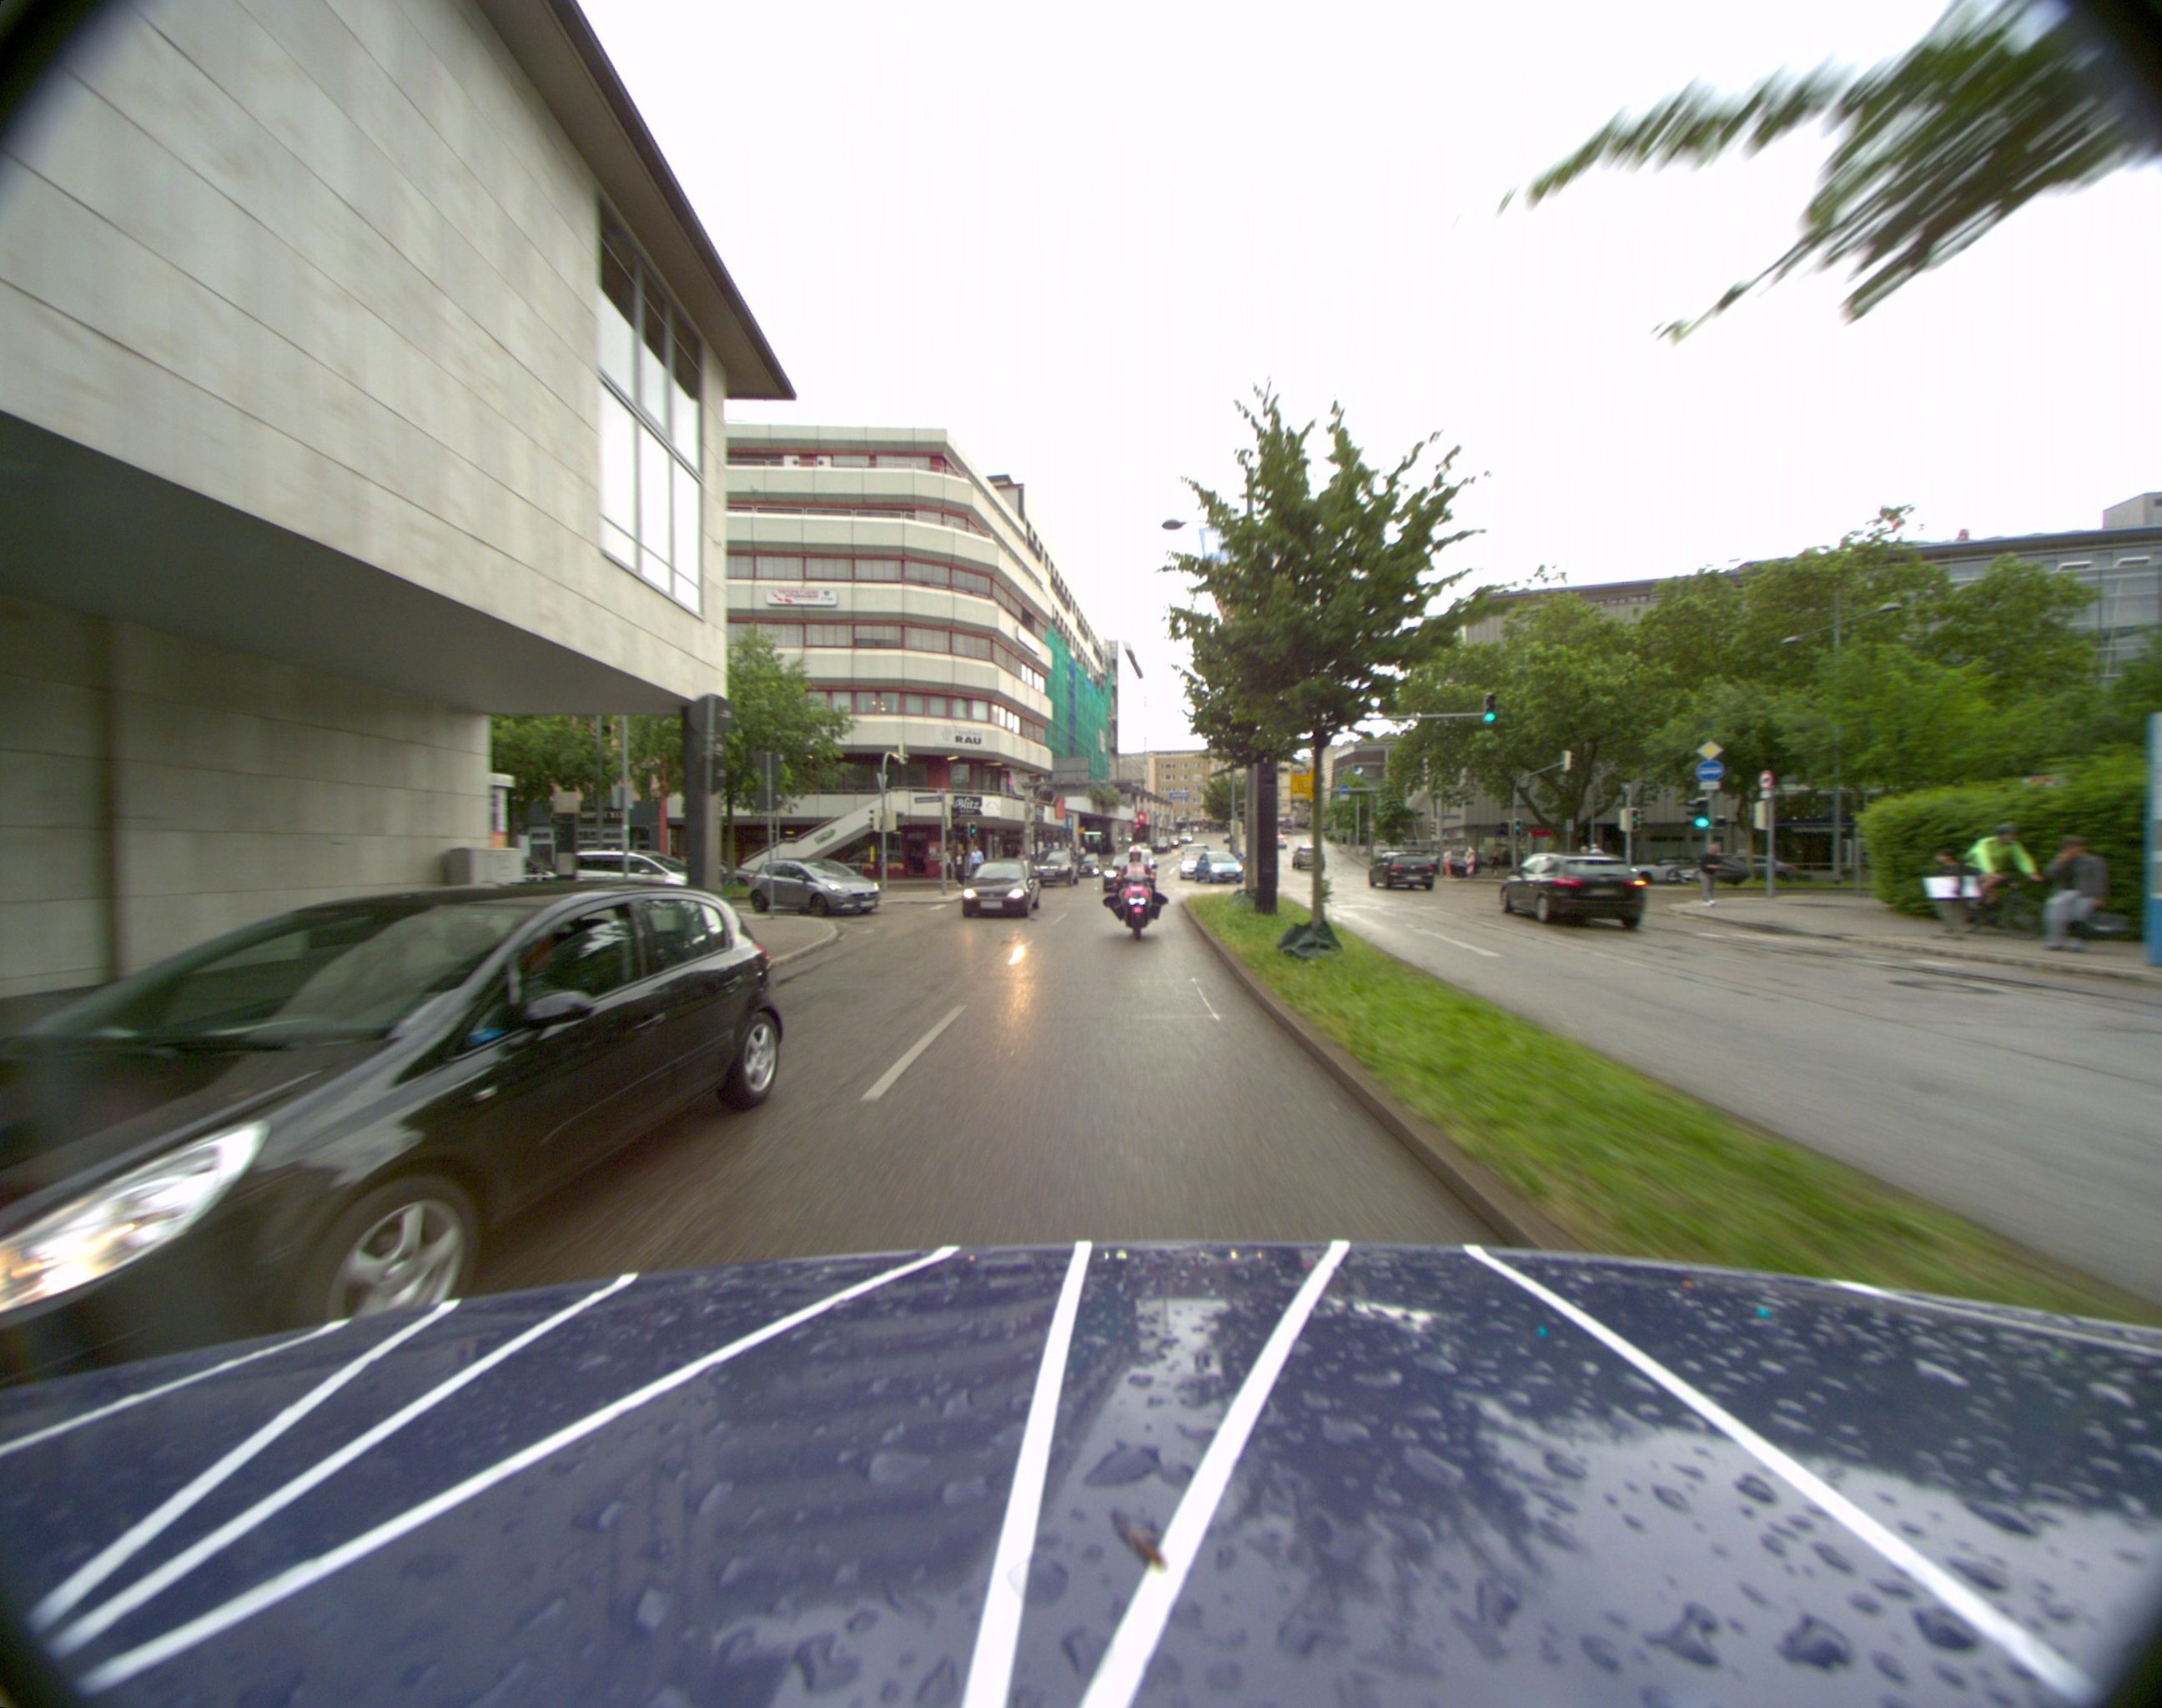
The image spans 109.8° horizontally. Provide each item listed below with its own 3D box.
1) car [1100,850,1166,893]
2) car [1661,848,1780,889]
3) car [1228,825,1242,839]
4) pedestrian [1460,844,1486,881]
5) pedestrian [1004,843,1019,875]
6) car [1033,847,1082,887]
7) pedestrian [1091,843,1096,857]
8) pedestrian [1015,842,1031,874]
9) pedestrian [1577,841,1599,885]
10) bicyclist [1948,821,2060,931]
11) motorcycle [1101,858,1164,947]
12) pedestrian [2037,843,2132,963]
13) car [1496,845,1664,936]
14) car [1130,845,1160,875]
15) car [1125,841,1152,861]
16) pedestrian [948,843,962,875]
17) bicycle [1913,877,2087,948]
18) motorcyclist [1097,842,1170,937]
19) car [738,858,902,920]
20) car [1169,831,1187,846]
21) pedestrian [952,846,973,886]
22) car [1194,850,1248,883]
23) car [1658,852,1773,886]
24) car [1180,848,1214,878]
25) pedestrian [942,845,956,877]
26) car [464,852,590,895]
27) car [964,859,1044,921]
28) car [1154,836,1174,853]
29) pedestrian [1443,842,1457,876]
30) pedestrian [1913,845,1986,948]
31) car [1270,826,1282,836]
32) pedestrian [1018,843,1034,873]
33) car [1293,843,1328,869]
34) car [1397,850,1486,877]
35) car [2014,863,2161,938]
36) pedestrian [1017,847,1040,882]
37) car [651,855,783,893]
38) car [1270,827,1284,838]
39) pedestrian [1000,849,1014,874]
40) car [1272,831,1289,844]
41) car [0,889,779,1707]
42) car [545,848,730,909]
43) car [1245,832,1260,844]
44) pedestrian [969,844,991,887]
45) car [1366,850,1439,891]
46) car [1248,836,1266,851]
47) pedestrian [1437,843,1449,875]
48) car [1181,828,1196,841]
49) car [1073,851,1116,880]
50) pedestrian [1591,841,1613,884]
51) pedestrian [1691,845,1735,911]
[{"bbox_3d":[2.133,0.622,29.895,1.936,1.511,4.472,-1,1,12],"label":"car"},{"bbox_3d":[27.672,0.601,33.004,3.596,1.686,1.638,1,0,11],"label":"car"},{"bbox_3d":[21.211,-3.037,104.499,1.830,1.727,4.001,1,4,12],"label":"car"},{"bbox_3d":[20.622,0.443,39.998,0.861,1.895,0.826,-2,1,-13],"label":"pedestrian"},{"bbox_3d":[-4.196,0.279,45.990,0.733,1.885,0.676,0,3,10],"label":"pedestrian"},{"bbox_3d":[-0.994,0.546,34.582,1.735,1.669,4.249,-2,1,4],"label":"car"},{"bbox_3d":[1.356,-0.457,81.272,0.429,1.481,0.524,-1,4,-8],"label":"pedestrian"},{"bbox_3d":[-3.511,0.243,45.898,0.759,1.891,0.790,0,3,10],"label":"pedestrian"},{"bbox_3d":[20.908,0.376,31.342,0.527,1.754,0.593,-3,2,9],"label":"pedestrian"},{"bbox_3d":[16.306,0.372,13.453,0.793,1.879,0.954,0,1,1],"label":"bicyclist"},{"bbox_3d":[1.025,0.832,14.367,0.831,1.479,2.868,0,1,11],"label":"motorcycle"},{"bbox_3d":[15.089,0.715,11.440,0.592,1.754,0.643,0,1,-9],"label":"pedestrian"},{"bbox_3d":[10.977,0.700,17.091,1.830,1.726,4.263,2,1,15],"label":"car"},{"bbox_3d":[3.888,0.334,45.722,1.631,1.731,3.602,1,0,7],"label":"car"},{"bbox_3d":[5.487,-0.313,72.190,1.775,1.575,4.002,-2,3,15],"label":"car"},{"bbox_3d":[-7.108,0.270,42.895,0.596,1.753,0.493,-1,3,11],"label":"pedestrian"},{"bbox_3d":[16.307,0.996,13.579,0.652,1.104,2.058,0,1,2],"label":"bicycle"},{"bbox_3d":[1.021,0.656,14.603,1.295,1.757,0.846,0,1,11],"label":"motorcyclist"},{"bbox_3d":[-7.085,0.896,20.605,3.989,1.468,2.003,-1,2,29],"label":"car"},{"bbox_3d":[12.049,-1.961,94.406,1.830,1.727,4.001,1,4,12],"label":"car"},{"bbox_3d":[-5.274,0.525,33.808,0.623,1.764,0.678,0,3,17],"label":"pedestrian"},{"bbox_3d":[6.613,0.546,36.242,1.700,1.466,3.689,0,0,-3],"label":"car"},{"bbox_3d":[30.268,0.697,36.346,3.995,1.577,1.702,0,0,4],"label":"car"},{"bbox_3d":[6.358,0.458,41.743,1.768,1.401,4.001,-1,2,8],"label":"car"},{"bbox_3d":[-7.335,0.369,42.272,0.528,1.753,0.510,-3,4,-32],"label":"pedestrian"},{"bbox_3d":[-23.999,0.814,33.043,3.997,1.544,1.806,-3,3,-1],"label":"car"},{"bbox_3d":[-1.931,0.863,19.967,1.596,1.432,3.628,-1,0,2],"label":"car"},{"bbox_3d":[9.197,-1.073,84.190,1.830,1.727,4.001,1,4,12],"label":"car"},{"bbox_3d":[20.258,0.283,41.736,0.447,1.827,0.676,0,4,6],"label":"pedestrian"},{"bbox_3d":[15.056,0.719,13.179,0.630,1.754,0.528,0,1,-3],"label":"pedestrian"},{"bbox_3d":[30.447,-3.639,118.578,1.627,1.430,3.648,0,4,10],"label":"car"},{"bbox_3d":[-3.369,0.231,46.820,0.750,1.770,0.888,-1,3,7],"label":"pedestrian"},{"bbox_3d":[16.163,0.120,53.767,1.830,1.726,4.313,0,2,10],"label":"car"},{"bbox_3d":[21.568,0.539,45.524,4.412,1.388,1.937,3,3,43],"label":"car"},{"bbox_3d":[23.451,0.992,16.719,1.598,1.530,3.601,0,0,5],"label":"car"},{"bbox_3d":[-2.825,0.545,40.962,0.897,1.770,0.806,5,4,14],"label":"pedestrian"},{"bbox_3d":[-14.109,0.744,29.651,4.271,1.412,1.787,0,1,-2],"label":"car"},{"bbox_3d":[27.747,-3.020,107.703,1.621,1.483,3.881,2,2,10],"label":"car"},{"bbox_3d":[-4.873,0.482,50.018,0.575,1.654,0.941,2,1,13],"label":"pedestrian"},{"bbox_3d":[23.554,-1.910,89.842,1.675,1.507,3.645,1,2,10],"label":"car"},{"bbox_3d":[-2.885,0.993,3.089,1.712,1.448,3.742,-2,1,1],"label":"car"},{"bbox_3d":[-13.606,0.725,23.502,4.605,1.750,1.856,0,2,2],"label":"car"},{"bbox_3d":[22.494,-2.173,99.919,1.716,1.470,3.959,2,2,10],"label":"car"},{"bbox_3d":[-4.495,0.502,33.805,0.623,1.837,0.848,0,3,17],"label":"pedestrian"},{"bbox_3d":[12.737,0.611,30.343,1.760,1.412,4.099,2,2,10],"label":"car"},{"bbox_3d":[18.455,-1.096,79.782,1.625,1.547,3.661,0,1,9],"label":"car"},{"bbox_3d":[20.384,0.294,42.810,0.412,1.753,0.677,0,0,9],"label":"pedestrian"},{"bbox_3d":[15.285,-2.777,108.356,1.830,1.727,4.001,1,4,12],"label":"car"},{"bbox_3d":[0.860,0.658,45.865,1.680,1.422,3.779,-1,3,15],"label":"car"},{"bbox_3d":[21.498,0.355,31.354,0.527,1.754,0.593,0,1,9],"label":"pedestrian"},{"bbox_3d":[17.256,0.655,20.745,0.648,1.755,0.592,0,4,6],"label":"pedestrian"}]
